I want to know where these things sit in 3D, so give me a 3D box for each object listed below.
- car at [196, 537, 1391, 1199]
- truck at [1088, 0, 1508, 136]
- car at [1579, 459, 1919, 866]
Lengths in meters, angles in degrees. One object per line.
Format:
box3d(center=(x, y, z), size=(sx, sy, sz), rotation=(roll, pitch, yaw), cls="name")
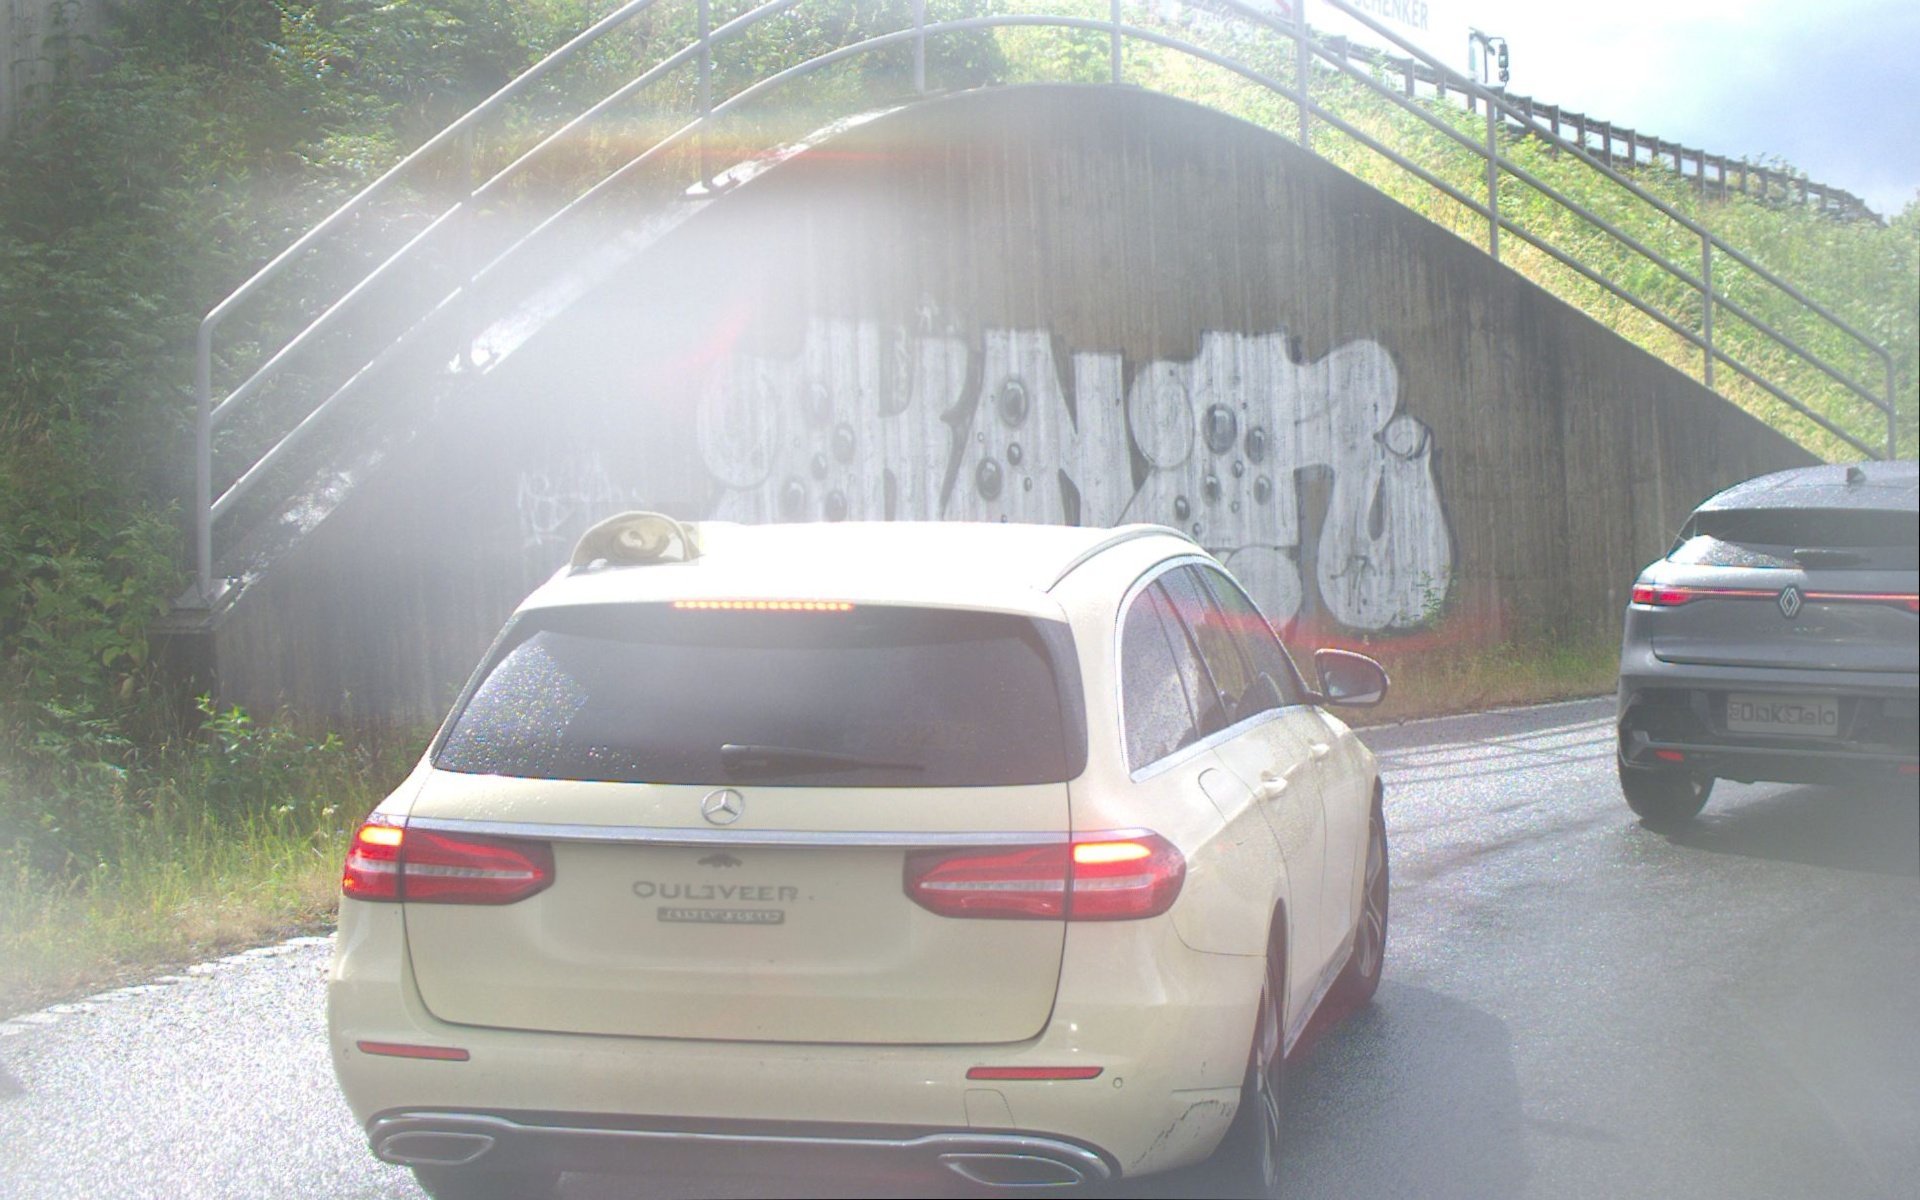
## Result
box3d(center=(-0.039, 0.612, 8.336), size=(1.917, 1.502, 4.594), rotation=(0, 1, 10), cls="car")
box3d(center=(5.356, -9.593, 52.259), size=(3.185, 3.952, 9.223), rotation=(1, 1, 27), cls="truck")
box3d(center=(4.287, 0.160, 14.853), size=(1.721, 1.519, 3.993), rotation=(2, 3, 33), cls="car")
